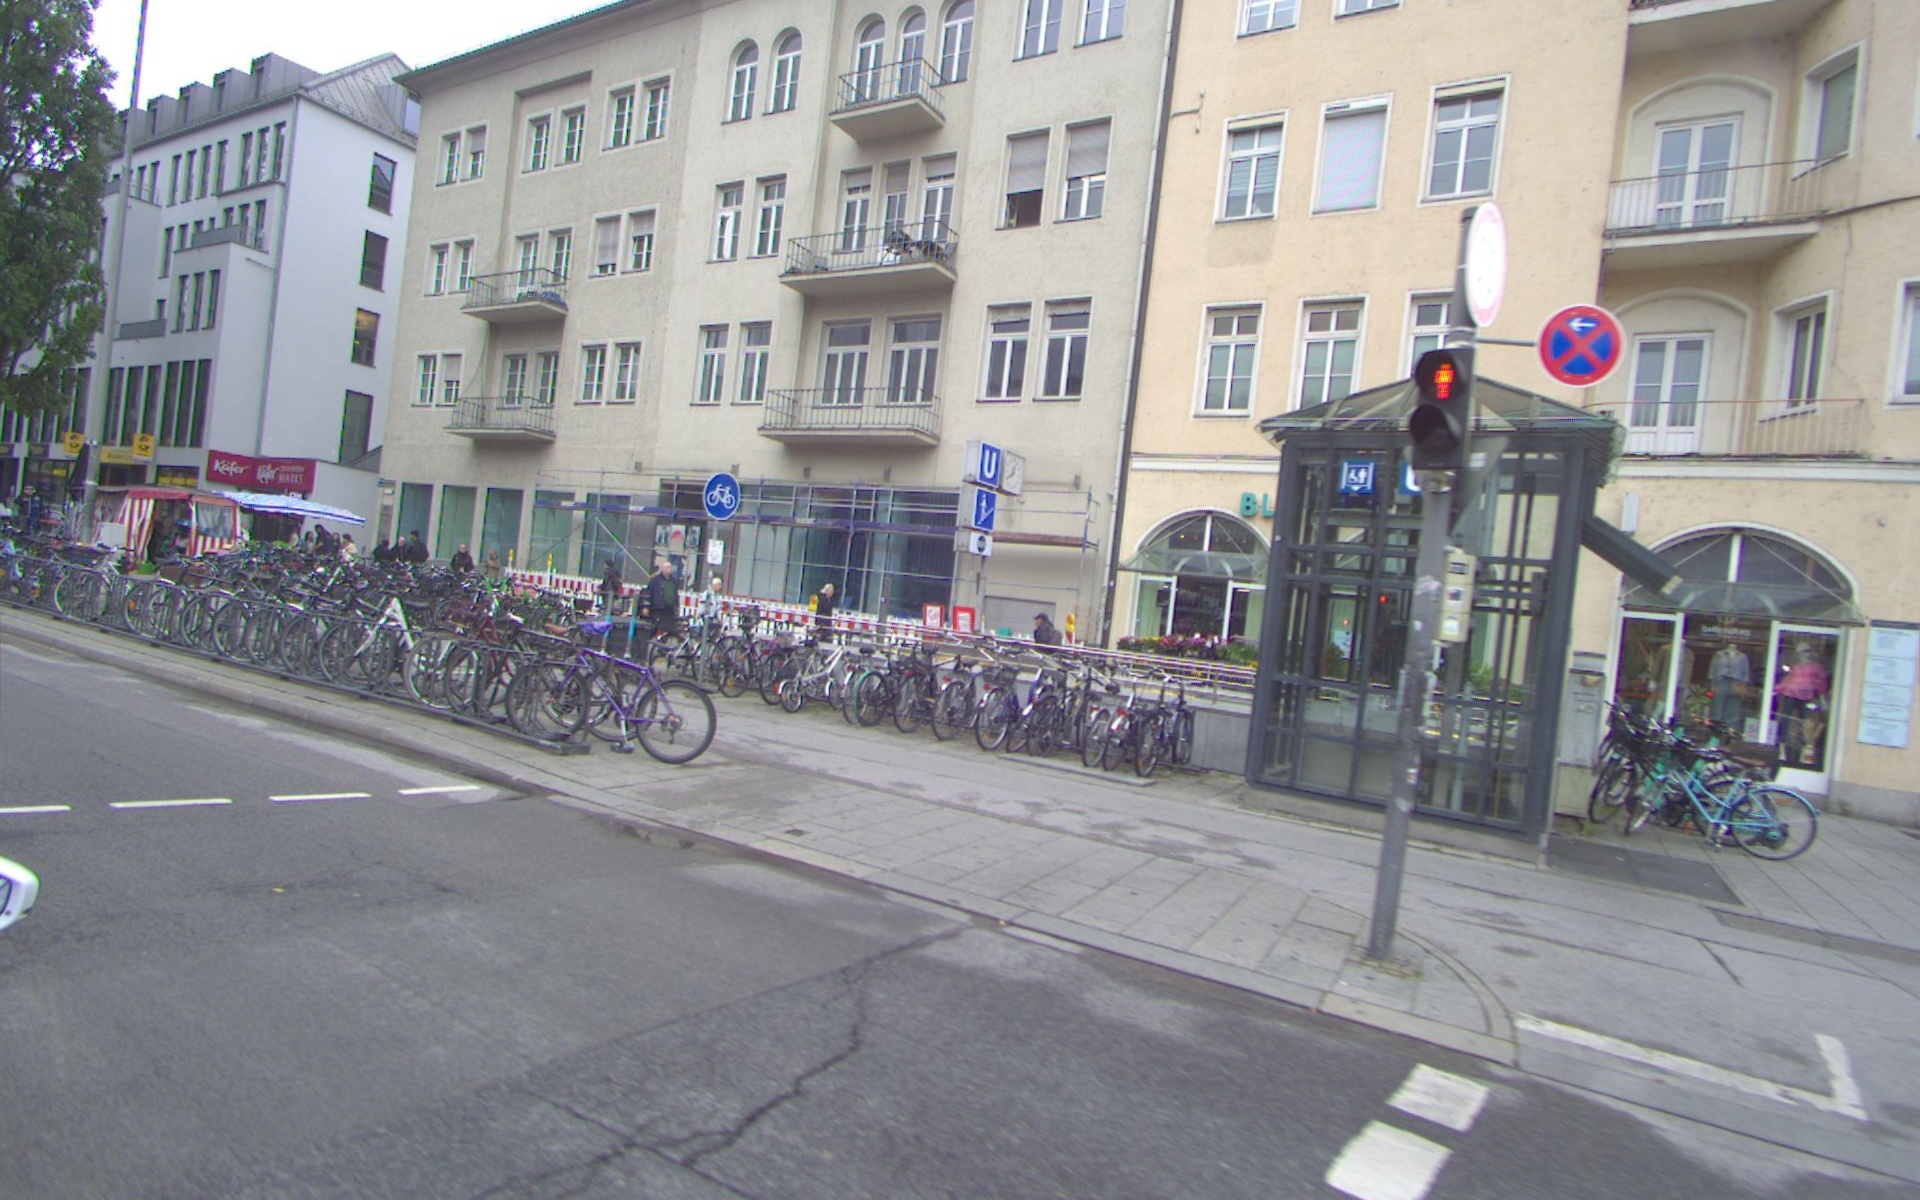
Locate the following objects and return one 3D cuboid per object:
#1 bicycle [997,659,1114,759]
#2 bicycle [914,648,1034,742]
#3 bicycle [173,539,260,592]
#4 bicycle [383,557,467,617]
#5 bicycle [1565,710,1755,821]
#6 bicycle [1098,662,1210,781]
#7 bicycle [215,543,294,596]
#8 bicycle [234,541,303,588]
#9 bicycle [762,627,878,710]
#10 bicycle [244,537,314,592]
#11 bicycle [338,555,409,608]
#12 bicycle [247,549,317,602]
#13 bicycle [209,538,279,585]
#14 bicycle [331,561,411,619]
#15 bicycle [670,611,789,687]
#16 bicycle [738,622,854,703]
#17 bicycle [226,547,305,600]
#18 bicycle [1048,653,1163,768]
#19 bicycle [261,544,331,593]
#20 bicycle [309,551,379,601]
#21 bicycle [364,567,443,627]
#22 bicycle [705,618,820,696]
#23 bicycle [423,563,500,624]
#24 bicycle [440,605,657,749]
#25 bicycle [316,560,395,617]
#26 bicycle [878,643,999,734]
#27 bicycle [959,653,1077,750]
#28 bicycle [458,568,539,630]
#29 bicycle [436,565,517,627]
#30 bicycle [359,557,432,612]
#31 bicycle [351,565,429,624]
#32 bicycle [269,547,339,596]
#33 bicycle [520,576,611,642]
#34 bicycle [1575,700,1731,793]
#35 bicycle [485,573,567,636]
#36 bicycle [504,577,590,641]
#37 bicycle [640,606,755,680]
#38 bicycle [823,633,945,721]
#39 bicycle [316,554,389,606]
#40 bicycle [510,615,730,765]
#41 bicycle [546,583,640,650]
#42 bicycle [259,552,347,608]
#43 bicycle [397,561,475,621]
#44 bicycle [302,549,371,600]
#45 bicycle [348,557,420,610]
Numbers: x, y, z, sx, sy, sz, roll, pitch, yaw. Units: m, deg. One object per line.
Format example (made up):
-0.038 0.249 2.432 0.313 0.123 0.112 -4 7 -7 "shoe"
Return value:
1.118 1.198 11.341 0.500 0.976 1.840 7 0 30 "bicycle"
0.204 1.115 12.013 0.500 0.976 1.840 7 0 30 "bicycle"
-16.304 -0.744 22.087 0.364 0.975 1.431 7 0 37 "bicycle"
-10.873 -0.240 20.482 0.363 1.088 1.504 7 0 25 "bicycle"
8.910 2.091 12.878 1.831 1.072 0.496 7 1 17 "bicycle"
2.120 1.261 10.796 0.500 1.108 1.840 7 0 30 "bicycle"
-15.002 -0.634 21.414 0.363 0.975 1.261 7 0 34 "bicycle"
-16.409 -0.840 23.901 0.363 0.975 1.245 7 0 30 "bicycle"
-1.810 0.904 13.293 0.445 0.976 1.757 7 0 30 "bicycle"
-15.865 -0.818 23.466 0.363 1.154 1.245 7 0 30 "bicycle"
-12.423 -0.376 21.341 0.362 0.993 1.247 7 0 23 "bicycle"
-13.951 -0.490 20.721 0.362 0.975 1.229 7 0 10 "bicycle"
-16.994 -0.898 23.907 0.363 0.975 1.245 7 0 30 "bicycle"
-11.015 -0.174 18.834 0.363 0.975 1.181 7 0 36 "bicycle"
-3.221 0.715 14.220 0.445 0.976 1.756 7 0 32 "bicycle"
-2.188 0.851 13.620 0.445 0.976 1.757 7 0 30 "bicycle"
-14.603 -0.552 21.168 0.364 0.975 1.259 7 1 41 "bicycle"
1.641 1.179 11.072 0.500 1.108 1.840 7 0 30 "bicycle"
-15.309 -0.722 23.230 0.363 0.993 1.245 7 0 30 "bicycle"
-13.461 -0.512 22.019 0.362 0.993 1.247 7 0 23 "bicycle"
-10.101 -0.052 18.288 0.364 0.975 1.133 7 1 37 "bicycle"
-2.713 0.806 14.008 0.445 0.976 1.757 7 0 30 "bicycle"
-9.828 -0.118 19.872 0.363 1.088 1.331 7 0 25 "bicycle"
-3.529 0.662 8.724 1.575 1.041 0.498 7 1 -11 "bicycle"
-11.470 -0.207 19.113 0.363 0.975 1.182 7 0 30 "bicycle"
-0.223 1.068 12.314 0.500 0.976 1.840 7 0 30 "bicycle"
0.712 1.155 11.676 0.500 0.976 1.840 7 0 30 "bicycle"
-8.842 -0.003 19.313 0.363 1.088 1.430 7 0 25 "bicycle"
-9.374 -0.067 19.557 0.363 1.088 1.430 7 0 25 "bicycle"
-11.531 -0.303 20.577 0.363 0.993 1.246 7 0 25 "bicycle"
-10.473 -0.095 18.503 0.364 0.975 1.133 7 1 37 "bicycle"
-14.884 -0.634 22.852 0.363 0.993 1.245 7 0 30 "bicycle"
-7.232 0.190 18.501 0.443 1.088 1.553 7 0 27 "bicycle"
10.731 2.248 15.646 1.833 1.103 0.495 7 1 26 "bicycle"
-8.158 0.102 18.957 0.363 1.088 1.430 7 0 25 "bicycle"
-7.683 0.185 18.765 0.363 1.088 1.554 7 0 25 "bicycle"
-3.776 0.647 14.612 0.363 0.976 1.756 7 0 32 "bicycle"
-0.920 0.968 12.719 0.500 0.976 1.840 7 0 30 "bicycle"
-13.019 -0.420 21.592 0.363 0.993 1.246 7 0 29 "bicycle"
-2.779 0.740 8.344 1.575 1.041 0.498 7 1 -11 "bicycle"
-6.647 0.314 18.286 0.444 1.088 1.551 7 0 33 "bicycle"
-13.012 -0.376 19.971 0.363 0.975 1.405 7 0 27 "bicycle"
-10.391 -0.159 19.989 0.363 1.088 1.331 7 0 25 "bicycle"
-13.839 -0.552 22.342 0.362 0.993 1.247 7 0 23 "bicycle"
-11.997 -0.332 20.972 0.363 0.993 1.246 7 0 25 "bicycle"
